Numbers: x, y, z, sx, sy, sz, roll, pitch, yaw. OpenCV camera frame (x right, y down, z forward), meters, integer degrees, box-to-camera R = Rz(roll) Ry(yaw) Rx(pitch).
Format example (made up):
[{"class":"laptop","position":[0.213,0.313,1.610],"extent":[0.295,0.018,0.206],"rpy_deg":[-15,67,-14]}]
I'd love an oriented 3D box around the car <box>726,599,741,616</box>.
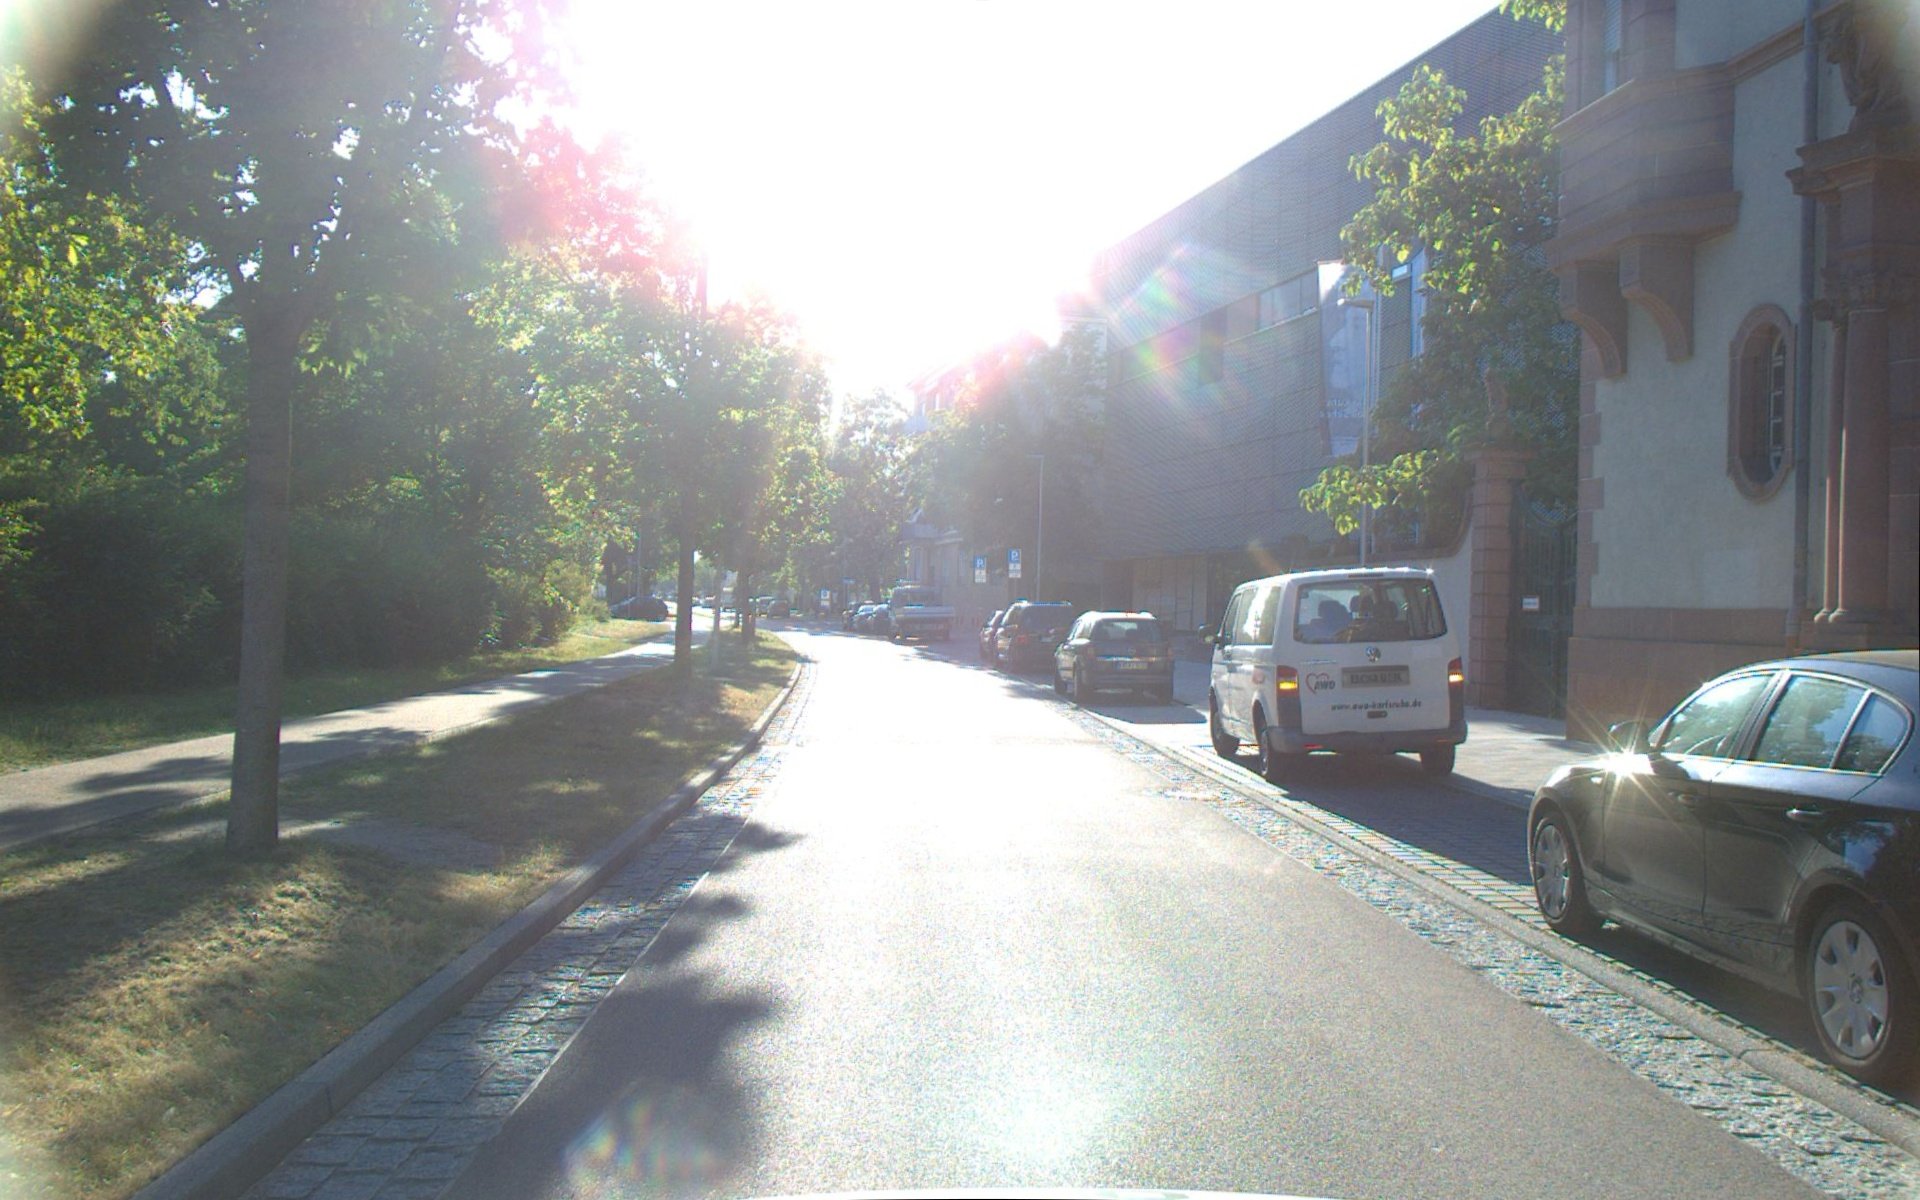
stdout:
[{"class":"car","position":[-28.408,0.982,207.504],"extent":[1.760,2.034,3.992],"rpy_deg":[2,0,-9]}]

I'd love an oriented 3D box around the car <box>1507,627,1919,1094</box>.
[{"class":"car","position":[3.828,0.855,6.893],"extent":[1.645,1.427,4.198],"rpy_deg":[0,0,-1]}]

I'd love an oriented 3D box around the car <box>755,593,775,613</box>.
[{"class":"car","position":[-18.413,0.291,156.144],"extent":[1.760,1.754,3.992],"rpy_deg":[2,0,-9]}]

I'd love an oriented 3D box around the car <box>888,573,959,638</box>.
[{"class":"car","position":[-1.584,0.197,68.642],"extent":[2.170,2.574,6.135],"rpy_deg":[0,0,-9]}]

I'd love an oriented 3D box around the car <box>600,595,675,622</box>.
[{"class":"car","position":[-19.109,0.497,98.058],"extent":[3.956,1.445,1.749],"rpy_deg":[3,-1,-37]}]

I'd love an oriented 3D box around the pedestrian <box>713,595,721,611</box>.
[{"class":"pedestrian","position":[-22.365,0.293,152.232],"extent":[0.675,1.459,1.023],"rpy_deg":[2,1,-6]}]

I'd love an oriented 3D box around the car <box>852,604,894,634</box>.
[{"class":"car","position":[-4.479,0.969,84.837],"extent":[1.660,1.466,4.094],"rpy_deg":[1,0,-10]}]

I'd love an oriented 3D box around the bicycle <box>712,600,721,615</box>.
[{"class":"bicycle","position":[-22.368,0.674,152.004],"extent":[0.675,1.223,2.340],"rpy_deg":[2,1,-6]}]

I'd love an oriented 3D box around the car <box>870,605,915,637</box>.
[{"class":"car","position":[-3.285,0.995,79.584],"extent":[1.660,1.466,3.541],"rpy_deg":[1,0,-10]}]

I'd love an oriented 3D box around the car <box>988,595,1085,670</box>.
[{"class":"car","position":[1.786,0.728,39.728],"extent":[1.691,1.698,4.108],"rpy_deg":[0,0,-7]}]

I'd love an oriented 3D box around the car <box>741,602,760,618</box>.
[{"class":"car","position":[-21.732,1.031,171.265],"extent":[1.760,1.536,3.992],"rpy_deg":[2,0,-9]}]

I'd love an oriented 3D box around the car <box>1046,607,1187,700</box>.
[{"class":"car","position":[2.699,0.890,29.472],"extent":[1.713,1.492,4.473],"rpy_deg":[-1,0,-5]}]

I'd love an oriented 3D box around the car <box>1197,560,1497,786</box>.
[{"class":"car","position":[3.850,0.643,17.402],"extent":[1.953,2.000,4.849],"rpy_deg":[-1,0,0]}]

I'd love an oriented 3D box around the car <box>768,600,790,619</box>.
[{"class":"car","position":[-15.599,0.828,142.590],"extent":[1.759,1.536,3.995],"rpy_deg":[2,0,-6]}]

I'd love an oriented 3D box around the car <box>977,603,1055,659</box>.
[{"class":"car","position":[1.499,0.838,45.789],"extent":[1.690,1.446,3.902],"rpy_deg":[1,0,-5]}]
